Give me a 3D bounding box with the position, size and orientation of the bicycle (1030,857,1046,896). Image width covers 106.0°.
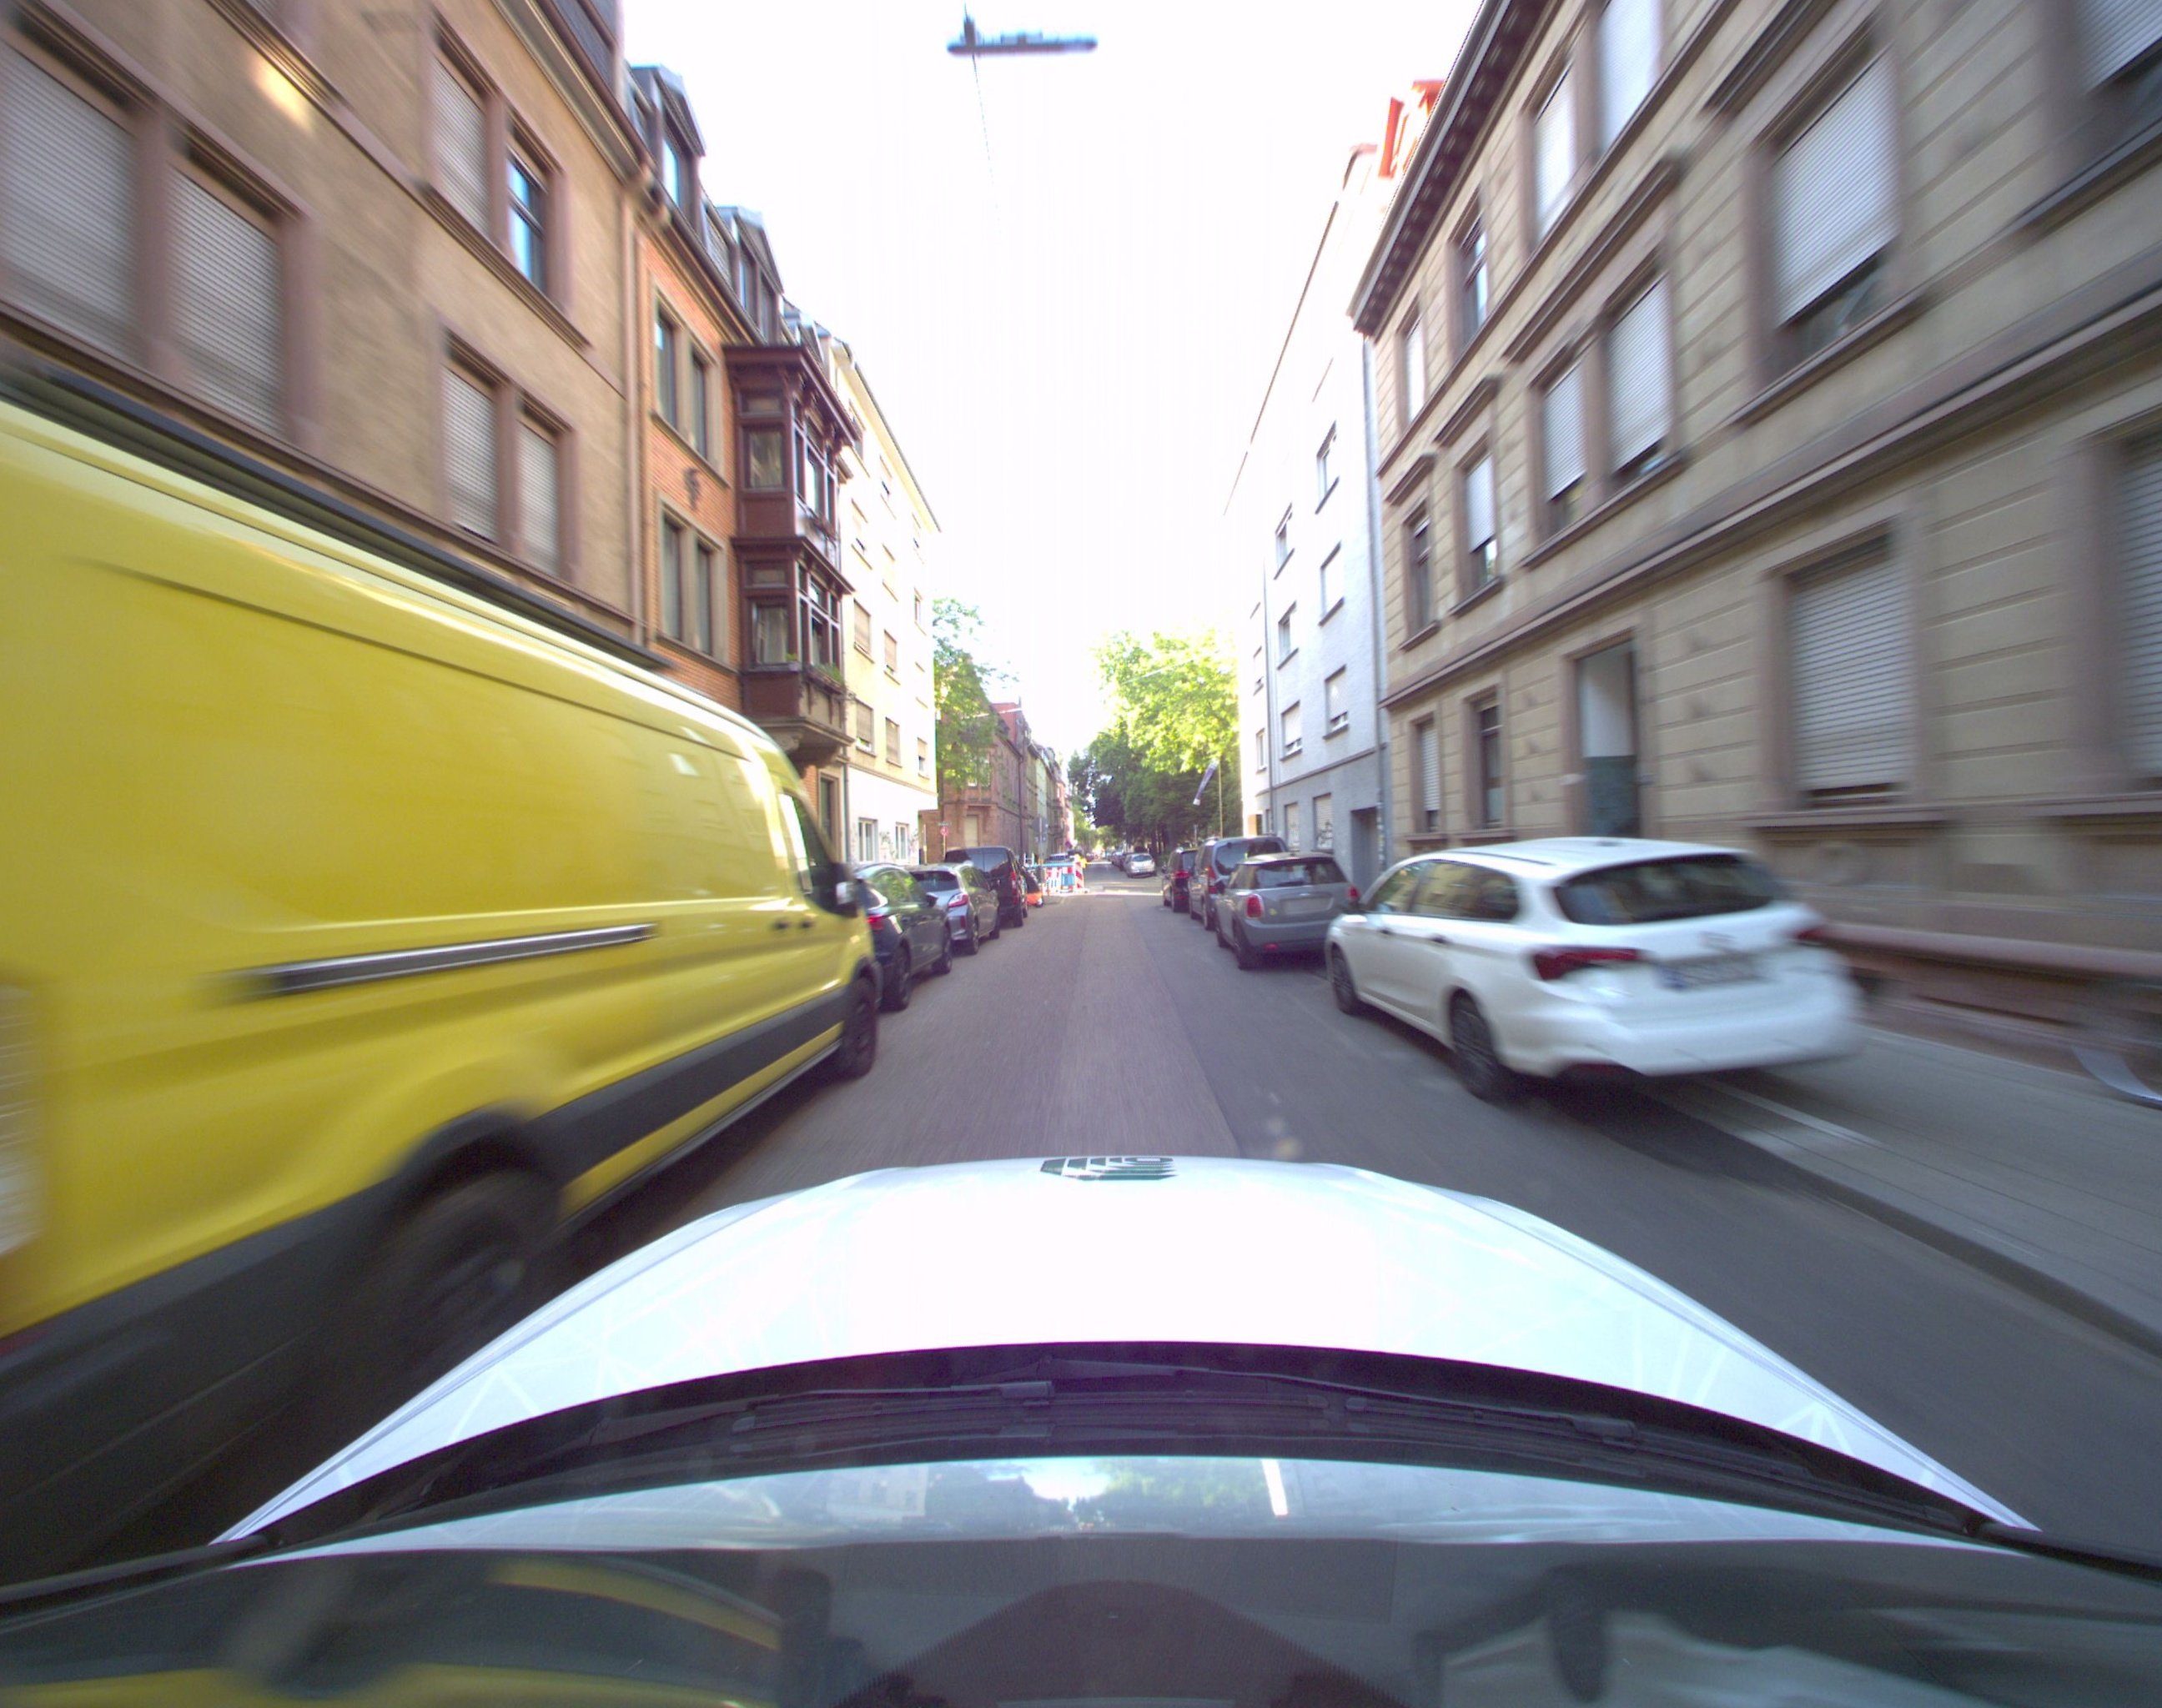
[{"bbox_3d":[-1.423,0.730,27.308,0.398,1.227,1.505,-2,1,0],"label":"bicycle"}]

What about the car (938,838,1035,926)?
[{"bbox_3d":[-2.085,0.583,19.157,1.813,1.766,4.333,-2,0,-1],"label":"car"}]

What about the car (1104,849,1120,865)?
[{"bbox_3d":[4.719,0.422,123.327,2.153,2.255,4.525,-2,0,0],"label":"car"}]

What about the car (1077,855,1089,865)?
[{"bbox_3d":[0.359,1.139,146.099,1.944,1.709,3.999,-2,0,0],"label":"car"}]

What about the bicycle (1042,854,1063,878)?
[{"bbox_3d":[-1.721,0.705,48.242,0.684,1.345,2.490,-2,0,-14],"label":"bicycle"}]

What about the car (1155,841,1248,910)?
[{"bbox_3d":[3.160,0.546,22.228,1.894,1.640,4.391,-2,0,1],"label":"car"}]

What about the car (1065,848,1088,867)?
[{"bbox_3d":[-0.484,0.397,95.899,2.300,2.114,5.173,-2,0,2],"label":"car"}]

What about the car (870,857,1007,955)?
[{"bbox_3d":[-2.361,0.813,14.410,1.671,1.449,3.646,-1,0,1],"label":"car"}]

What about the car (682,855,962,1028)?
[{"bbox_3d":[-2.787,0.848,9.840,1.987,1.552,4.000,-3,0,1],"label":"car"}]

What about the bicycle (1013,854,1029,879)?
[{"bbox_3d":[-3.596,0.750,48.930,0.680,1.423,2.798,-2,0,1],"label":"bicycle"}]

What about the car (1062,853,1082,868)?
[{"bbox_3d":[-0.814,0.652,78.583,1.765,1.353,4.001,-2,0,1],"label":"car"}]

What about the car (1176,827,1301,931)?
[{"bbox_3d":[3.198,0.442,17.508,1.747,1.786,4.725,-5,0,1],"label":"car"}]

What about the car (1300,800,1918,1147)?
[{"bbox_3d":[3.196,0.571,6.226,1.748,1.518,4.443,-6,0,0],"label":"car"}]

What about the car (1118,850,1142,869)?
[{"bbox_3d":[4.340,0.516,72.946,1.888,1.625,4.000,-2,0,1],"label":"car"}]

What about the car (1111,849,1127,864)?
[{"bbox_3d":[4.790,0.307,104.045,1.823,1.703,4.000,-2,0,0],"label":"car"}]

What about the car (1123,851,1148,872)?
[{"bbox_3d":[4.544,0.594,68.110,1.835,1.596,4.000,-2,0,1],"label":"car"}]

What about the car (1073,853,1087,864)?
[{"bbox_3d":[-0.109,0.646,116.541,1.896,1.574,4.000,-2,0,0],"label":"car"}]

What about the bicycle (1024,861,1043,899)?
[{"bbox_3d":[-1.493,0.812,25.860,0.423,1.140,1.667,1,0,3],"label":"bicycle"}]

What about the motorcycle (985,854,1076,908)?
[{"bbox_3d":[-1.490,0.774,24.232,2.525,1.482,0.896,-2,0,-26],"label":"motorcycle"}]

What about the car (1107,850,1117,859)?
[{"bbox_3d":[6.117,0.153,160.881,1.986,1.728,4.001,-3,0,1],"label":"car"}]

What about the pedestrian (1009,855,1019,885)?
[{"bbox_3d":[-3.853,0.917,46.829,0.523,1.740,0.557,-2,0,-3],"label":"pedestrian"}]

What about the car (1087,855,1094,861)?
[{"bbox_3d":[2.890,1.285,243.148,1.986,1.647,4.001,-2,0,1],"label":"car"}]

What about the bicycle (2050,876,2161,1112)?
[{"bbox_3d":[5.299,0.664,3.428,0.515,1.066,1.568,-4,0,1],"label":"bicycle"}]

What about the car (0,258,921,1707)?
[{"bbox_3d":[-2.631,0.389,4.193,2.167,2.507,5.879,-4,0,1],"label":"car"}]

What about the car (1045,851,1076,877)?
[{"bbox_3d":[-1.431,0.683,57.852,1.874,1.707,4.002,-3,0,2],"label":"car"}]

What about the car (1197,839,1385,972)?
[{"bbox_3d":[2.879,0.608,12.121,1.747,1.452,4.291,-6,0,3],"label":"car"}]

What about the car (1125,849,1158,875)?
[{"bbox_3d":[3.802,0.492,51.749,1.719,1.522,3.998,-3,0,-1],"label":"car"}]
